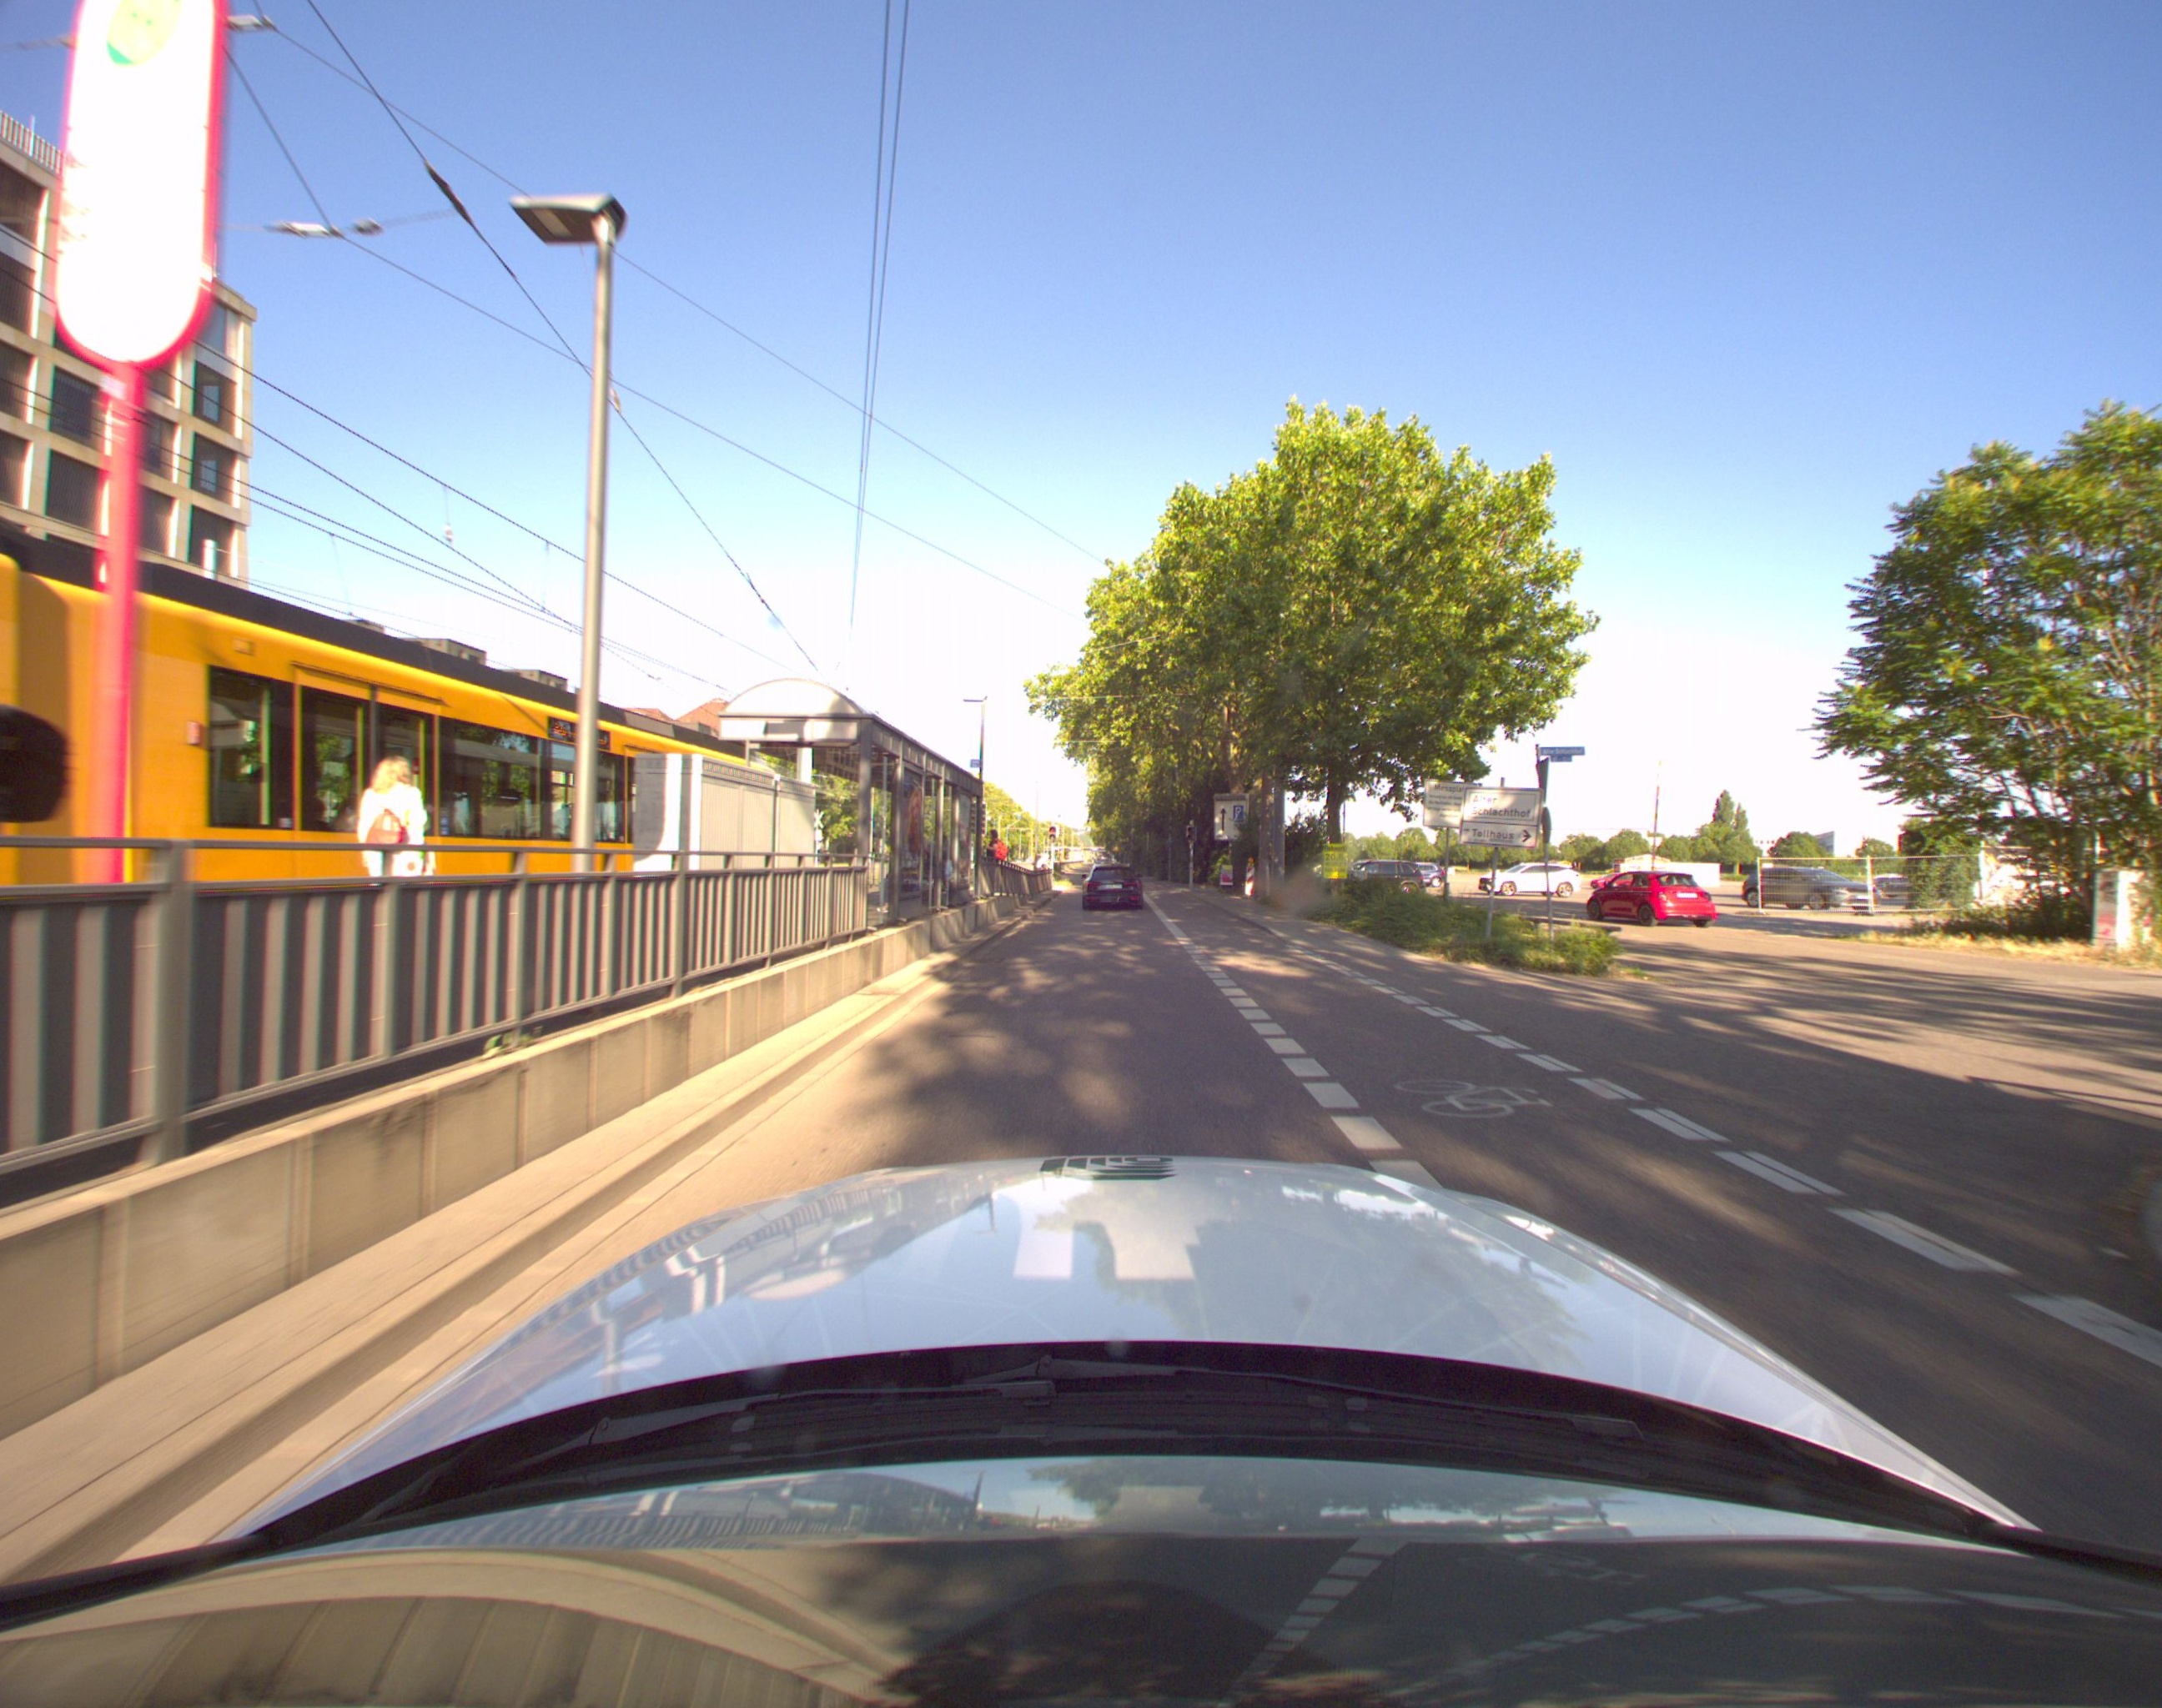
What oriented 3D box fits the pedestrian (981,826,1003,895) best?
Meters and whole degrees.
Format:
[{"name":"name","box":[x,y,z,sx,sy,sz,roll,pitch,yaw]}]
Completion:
[{"name":"pedestrian","box":[-2.261,0.169,20.725,0.410,1.717,0.666,1,-1,1]}]

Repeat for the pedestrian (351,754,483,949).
[{"name":"pedestrian","box":[-6.100,-0.023,7.515,0.655,1.713,0.613,1,-1,-1]}]

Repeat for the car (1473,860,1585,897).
[{"name":"car","box":[21.972,1.167,40.047,4.437,1.658,1.920,1,0,5]}]

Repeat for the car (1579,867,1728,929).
[{"name":"car","box":[15.998,1.167,22.994,1.608,1.515,3.804,1,0,2]}]

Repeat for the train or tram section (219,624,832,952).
[{"name":"train or tram section","box":[-8.396,-0.753,15.596,3.297,3.829,11.845,1,0,1]}]

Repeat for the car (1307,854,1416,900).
[{"name":"car","box":[11.718,0.945,34.177,3.972,1.764,1.834,1,-1,2]}]

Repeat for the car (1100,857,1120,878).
[{"name":"car","box":[3.012,1.366,84.377,1.986,2.014,4.001,1,0,1]}]

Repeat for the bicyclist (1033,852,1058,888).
[{"name":"bicyclist","box":[-1.722,0.775,39.543,0.914,1.717,0.762,2,-1,-43]}]

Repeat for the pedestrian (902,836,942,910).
[{"name":"pedestrian","box":[-2.828,0.333,14.500,0.565,1.293,0.501,2,-1,1]}]

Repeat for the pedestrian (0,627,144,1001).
[{"name":"pedestrian","box":[-5.254,-0.185,3.936,0.609,1.713,0.659,2,-1,-1]}]

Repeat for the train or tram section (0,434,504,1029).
[{"name":"train or tram section","box":[-8.650,-0.827,3.691,3.297,3.829,11.845,1,0,1]}]

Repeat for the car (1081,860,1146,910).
[{"name":"car","box":[0.981,0.928,25.898,1.873,1.457,3.355,-1,0,-1]}]

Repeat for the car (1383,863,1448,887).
[{"name":"car","box":[23.313,1.447,56.847,3.798,1.609,1.670,1,-1,1]}]

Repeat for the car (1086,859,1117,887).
[{"name":"car","box":[1.230,1.135,50.325,1.757,1.619,3.998,1,0,-1]}]

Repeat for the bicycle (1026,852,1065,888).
[{"name":"bicycle","box":[-1.723,0.783,39.593,1.984,1.717,0.584,2,-1,-43]}]

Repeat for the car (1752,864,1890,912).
[{"name":"car","box":[27.366,1.214,30.317,1.560,1.610,4.000,1,0,1]}]
